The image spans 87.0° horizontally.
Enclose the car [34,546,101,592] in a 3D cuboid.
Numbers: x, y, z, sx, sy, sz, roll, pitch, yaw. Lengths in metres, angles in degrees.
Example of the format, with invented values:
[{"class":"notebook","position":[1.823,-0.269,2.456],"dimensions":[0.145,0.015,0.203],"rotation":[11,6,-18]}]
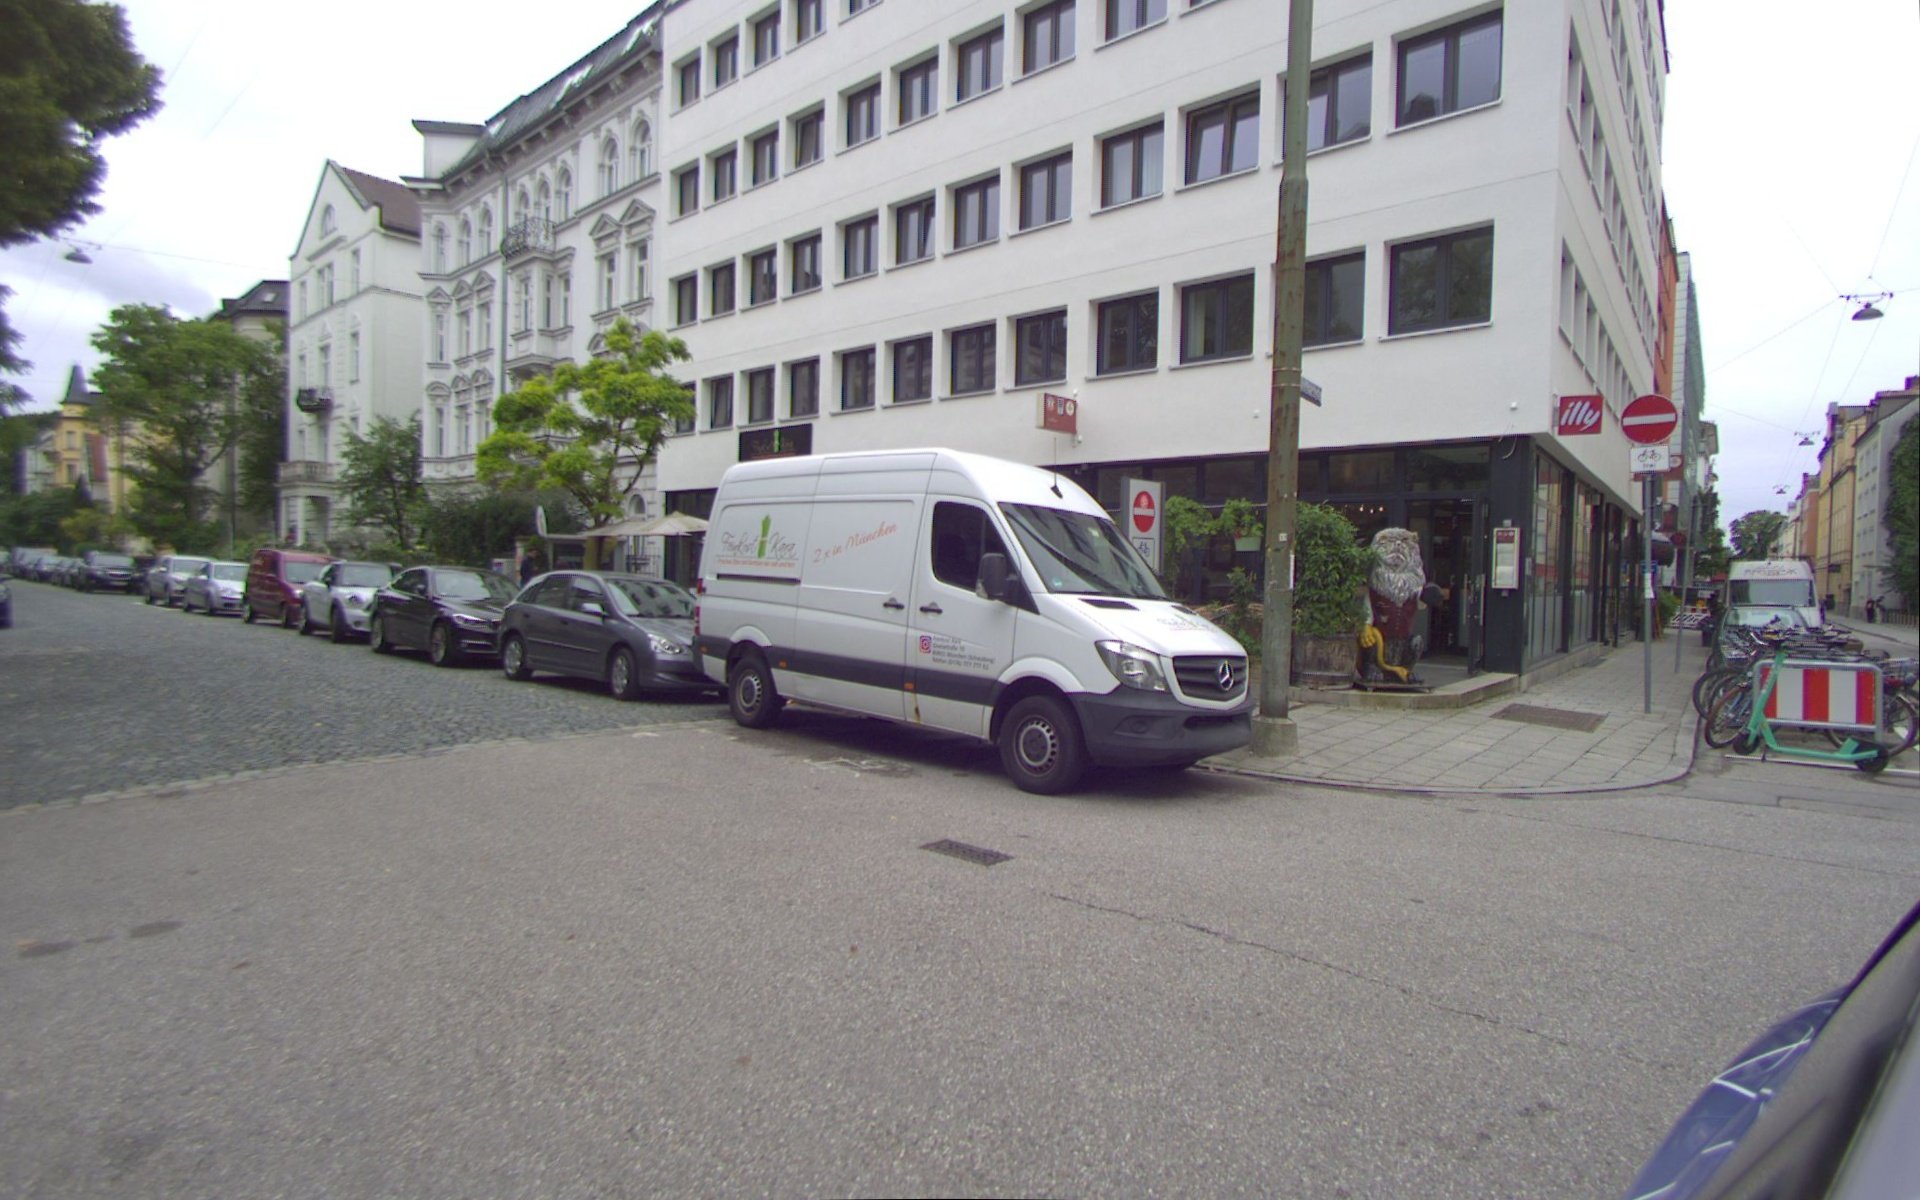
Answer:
[{"class":"car","position":[-41.367,-1.458,46.888],"dimensions":[3.986,2.038,1.969],"rotation":[3,2,43]}]

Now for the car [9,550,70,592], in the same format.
[{"class":"car","position":[-46.838,-1.470,51.480],"dimensions":[3.986,2.038,1.969],"rotation":[3,2,43]}]

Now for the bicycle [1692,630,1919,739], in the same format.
[{"class":"bicycle","position":[9.622,0.912,11.384],"dimensions":[2.168,0.988,0.961],"rotation":[3,2,40]}]

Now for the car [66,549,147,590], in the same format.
[{"class":"car","position":[-35.482,-1.285,42.055],"dimensions":[3.985,1.538,1.969],"rotation":[3,-1,42]}]

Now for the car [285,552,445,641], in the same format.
[{"class":"car","position":[-11.776,-0.106,19.927],"dimensions":[1.739,1.557,3.990],"rotation":[3,0,-45]}]

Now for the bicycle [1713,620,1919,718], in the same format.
[{"class":"bicycle","position":[11.074,0.850,13.075],"dimensions":[2.096,1.045,0.961],"rotation":[3,2,40]}]

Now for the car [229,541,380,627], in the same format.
[{"class":"car","position":[-15.370,-0.392,23.678],"dimensions":[3.774,1.805,1.752],"rotation":[3,-1,38]}]

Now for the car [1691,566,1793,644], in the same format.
[{"class":"car","position":[23.647,0.103,30.764],"dimensions":[1.985,2.160,3.955],"rotation":[2,2,32]}]

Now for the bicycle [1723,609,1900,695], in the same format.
[{"class":"bicycle","position":[13.132,0.772,15.682],"dimensions":[2.027,1.159,0.659],"rotation":[3,2,40]}]

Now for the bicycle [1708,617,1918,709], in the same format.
[{"class":"bicycle","position":[11.735,0.826,14.021],"dimensions":[2.144,1.045,0.961],"rotation":[3,2,40]}]

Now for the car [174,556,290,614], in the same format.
[{"class":"car","position":[-20.124,-0.434,27.931],"dimensions":[3.985,1.427,1.709],"rotation":[3,-1,42]}]

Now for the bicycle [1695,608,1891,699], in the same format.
[{"class":"bicycle","position":[12.440,0.760,15.202],"dimensions":[2.199,1.159,0.729],"rotation":[3,2,40]}]

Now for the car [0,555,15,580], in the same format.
[{"class":"car","position":[-79.510,-2.712,83.520],"dimensions":[3.986,2.038,1.969],"rotation":[3,2,43]}]

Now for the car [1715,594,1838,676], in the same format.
[{"class":"car","position":[16.499,0.615,20.420],"dimensions":[1.752,1.412,3.942],"rotation":[3,2,40]}]

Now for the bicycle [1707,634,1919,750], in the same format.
[{"class":"bicycle","position":[8.957,0.909,10.411],"dimensions":[1.986,0.976,0.960],"rotation":[3,2,40]}]

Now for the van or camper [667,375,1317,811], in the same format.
[{"class":"van or camper","position":[-0.098,-0.116,9.255],"dimensions":[5.854,2.748,2.267],"rotation":[3,0,44]}]

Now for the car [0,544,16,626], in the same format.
[{"class":"car","position":[-20.969,-0.354,20.963],"dimensions":[3.987,1.635,1.828],"rotation":[3,3,44]}]

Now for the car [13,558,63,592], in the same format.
[{"class":"car","position":[-56.999,-1.552,62.560],"dimensions":[3.986,2.038,1.969],"rotation":[3,2,43]}]

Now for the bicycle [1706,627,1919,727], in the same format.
[{"class":"bicycle","position":[10.400,0.891,12.221],"dimensions":[2.165,0.976,0.961],"rotation":[3,2,40]}]

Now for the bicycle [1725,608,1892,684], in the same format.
[{"class":"bicycle","position":[14.894,0.778,17.840],"dimensions":[2.198,1.159,0.630],"rotation":[3,2,40]}]

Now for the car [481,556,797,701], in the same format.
[{"class":"car","position":[-4.174,0.287,12.856],"dimensions":[4.128,1.505,1.865],"rotation":[3,-1,40]}]

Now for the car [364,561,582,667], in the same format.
[{"class":"car","position":[-7.892,0.183,16.215],"dimensions":[4.158,1.408,1.766],"rotation":[3,-1,44]}]

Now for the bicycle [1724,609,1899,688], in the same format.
[{"class":"bicycle","position":[14.380,0.778,17.170],"dimensions":[2.196,1.159,0.686],"rotation":[3,2,40]}]

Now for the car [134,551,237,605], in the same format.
[{"class":"car","position":[-24.582,-0.722,32.079],"dimensions":[3.985,1.538,1.807],"rotation":[3,-1,42]}]

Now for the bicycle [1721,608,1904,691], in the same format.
[{"class":"bicycle","position":[13.610,0.752,16.238],"dimensions":[2.172,1.159,0.665],"rotation":[3,2,40]}]

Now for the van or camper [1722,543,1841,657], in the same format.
[{"class":"van or camper","position":[20.600,-0.065,25.585],"dimensions":[1.956,2.540,5.649],"rotation":[2,2,36]}]

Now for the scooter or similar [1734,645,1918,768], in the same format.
[{"class":"scooter or similar","position":[8.183,0.972,9.614],"dimensions":[1.278,0.988,0.492],"rotation":[3,2,40]}]
